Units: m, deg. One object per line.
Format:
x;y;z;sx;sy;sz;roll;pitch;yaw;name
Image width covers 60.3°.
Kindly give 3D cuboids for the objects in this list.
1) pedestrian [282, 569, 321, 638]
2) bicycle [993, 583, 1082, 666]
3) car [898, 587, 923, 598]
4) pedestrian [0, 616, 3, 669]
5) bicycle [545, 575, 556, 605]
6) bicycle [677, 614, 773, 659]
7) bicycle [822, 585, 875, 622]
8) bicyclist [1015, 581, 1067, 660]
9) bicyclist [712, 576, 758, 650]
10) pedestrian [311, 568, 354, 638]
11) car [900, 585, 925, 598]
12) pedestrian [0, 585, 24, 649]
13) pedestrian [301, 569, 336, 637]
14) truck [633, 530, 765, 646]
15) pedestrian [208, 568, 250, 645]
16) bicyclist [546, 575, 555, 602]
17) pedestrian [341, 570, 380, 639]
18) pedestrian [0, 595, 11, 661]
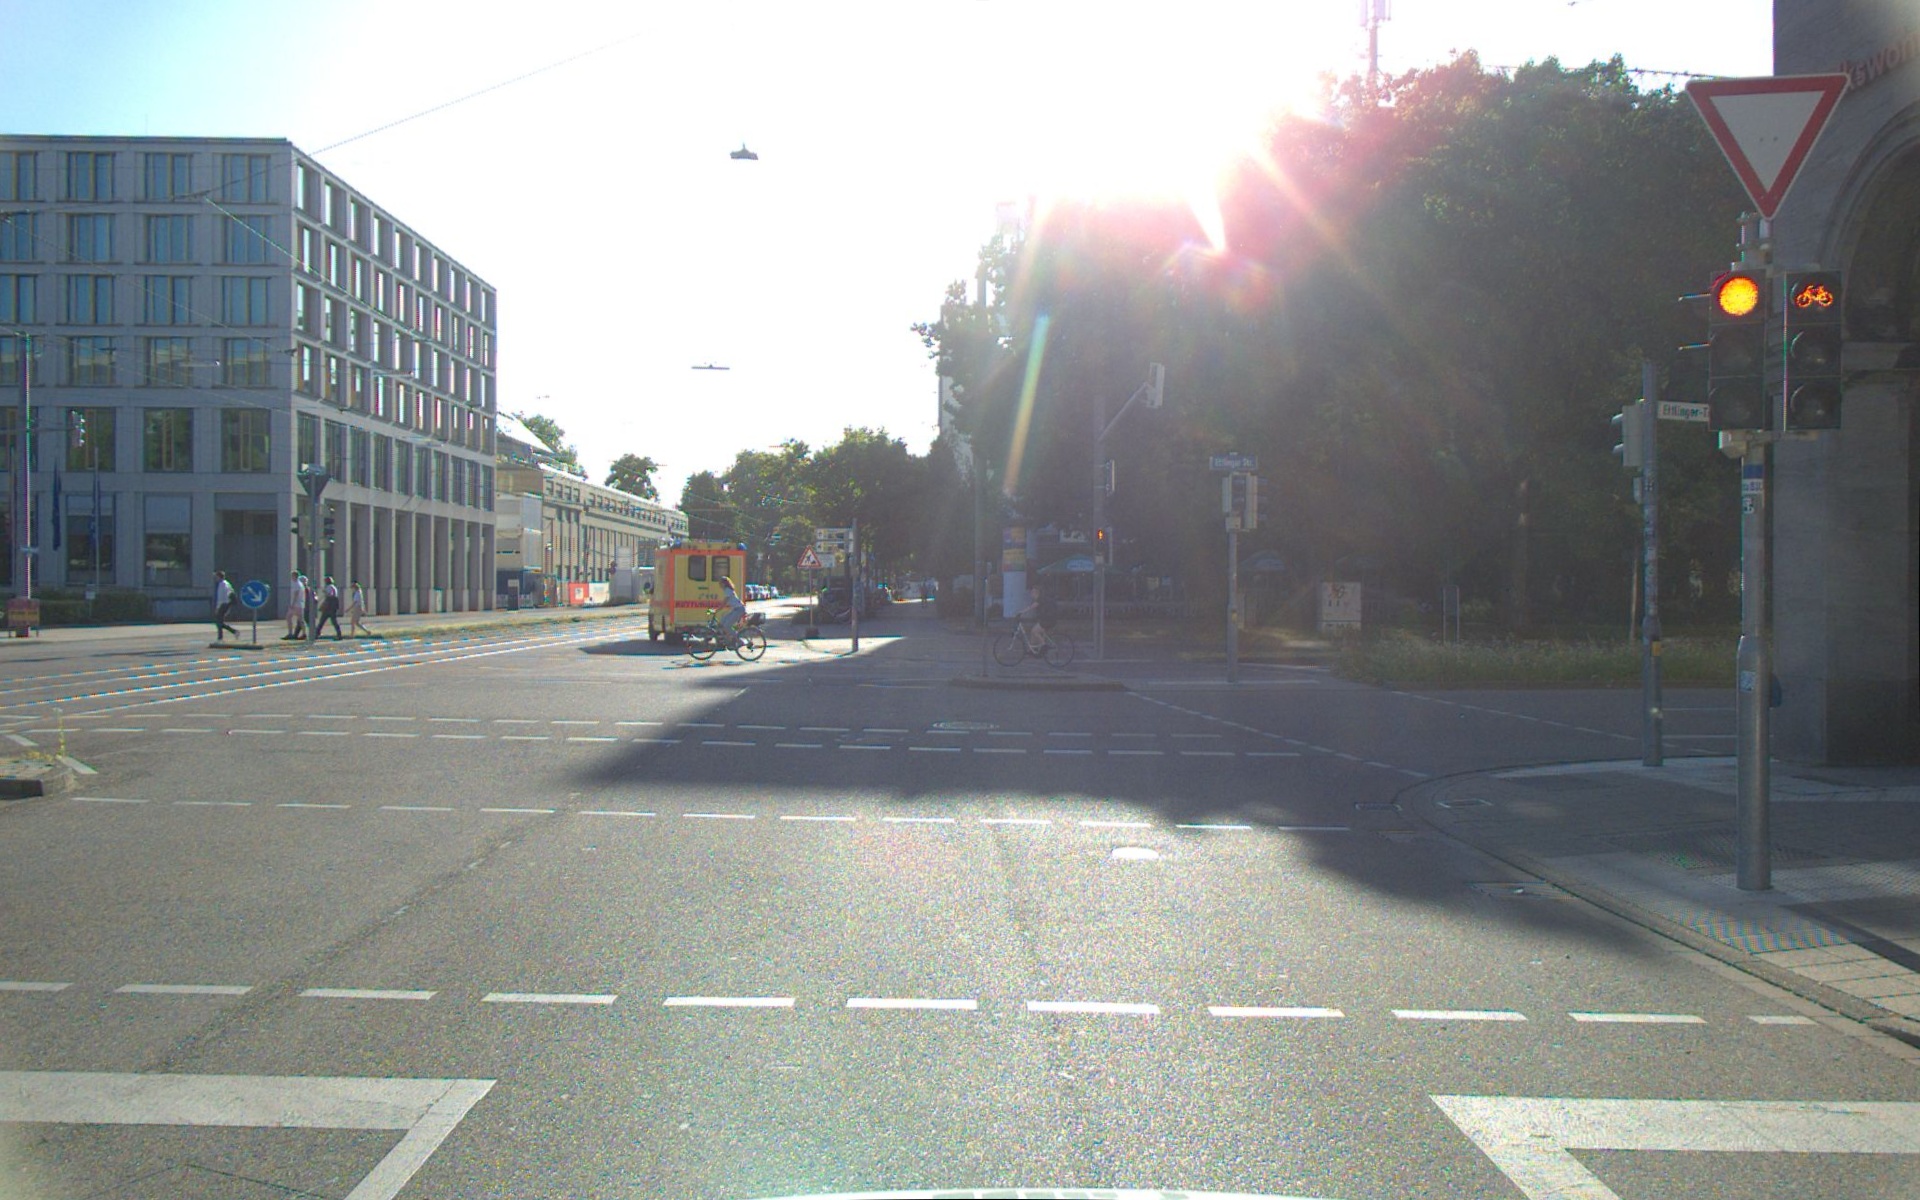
-17.586;0.089;44.157;0.723;1.835;0.716;0;0;4;pedestrian
1.666;0.526;35.689;1.859;1.765;0.597;0;0;-3;bicycle
-6.351;-0.960;211.145;3.153;1.285;1.372;1;0;-2;car
-24.810;1.088;41.699;0.975;1.340;0.765;0;0;-10;pedestrian
-32.133;-0.806;129.800;0.559;2.336;1.422;0;0;-2;bicycle
-5.053;0.779;35.624;2.024;0.949;0.574;0;0;-6;bicycle
-5.477;0.162;81.237;2.495;1.774;1.037;1;0;-1;bicycle
1.744;0.438;35.686;1.053;1.669;0.597;0;0;-3;bicyclist
-4.839;0.279;35.643;0.956;1.587;0.574;0;0;-6;bicyclist
-16.573;0.086;43.691;0.852;1.835;0.664;0;0;4;pedestrian
-6.114;-1.111;213.316;3.152;1.616;1.445;1;0;-5;car
-25.381;0.445;43.936;0.680;1.673;0.620;0;0;-5;pedestrian
-17.486;0.090;45.074;0.723;1.835;0.532;0;0;4;pedestrian
-7.582;-0.325;47.419;2.675;3.068;6.453;0;0;-19;truck
-18.896;0.165;42.777;0.785;1.951;0.637;0;0;4;pedestrian
-32.136;-0.902;129.735;0.559;2.059;0.761;0;0;-2;bicyclist
-16.158;0.119;44.575;0.851;1.835;0.532;0;0;4;pedestrian
-24.957;0.720;42.491;0.777;1.673;0.620;0;0;-5;pedestrian
